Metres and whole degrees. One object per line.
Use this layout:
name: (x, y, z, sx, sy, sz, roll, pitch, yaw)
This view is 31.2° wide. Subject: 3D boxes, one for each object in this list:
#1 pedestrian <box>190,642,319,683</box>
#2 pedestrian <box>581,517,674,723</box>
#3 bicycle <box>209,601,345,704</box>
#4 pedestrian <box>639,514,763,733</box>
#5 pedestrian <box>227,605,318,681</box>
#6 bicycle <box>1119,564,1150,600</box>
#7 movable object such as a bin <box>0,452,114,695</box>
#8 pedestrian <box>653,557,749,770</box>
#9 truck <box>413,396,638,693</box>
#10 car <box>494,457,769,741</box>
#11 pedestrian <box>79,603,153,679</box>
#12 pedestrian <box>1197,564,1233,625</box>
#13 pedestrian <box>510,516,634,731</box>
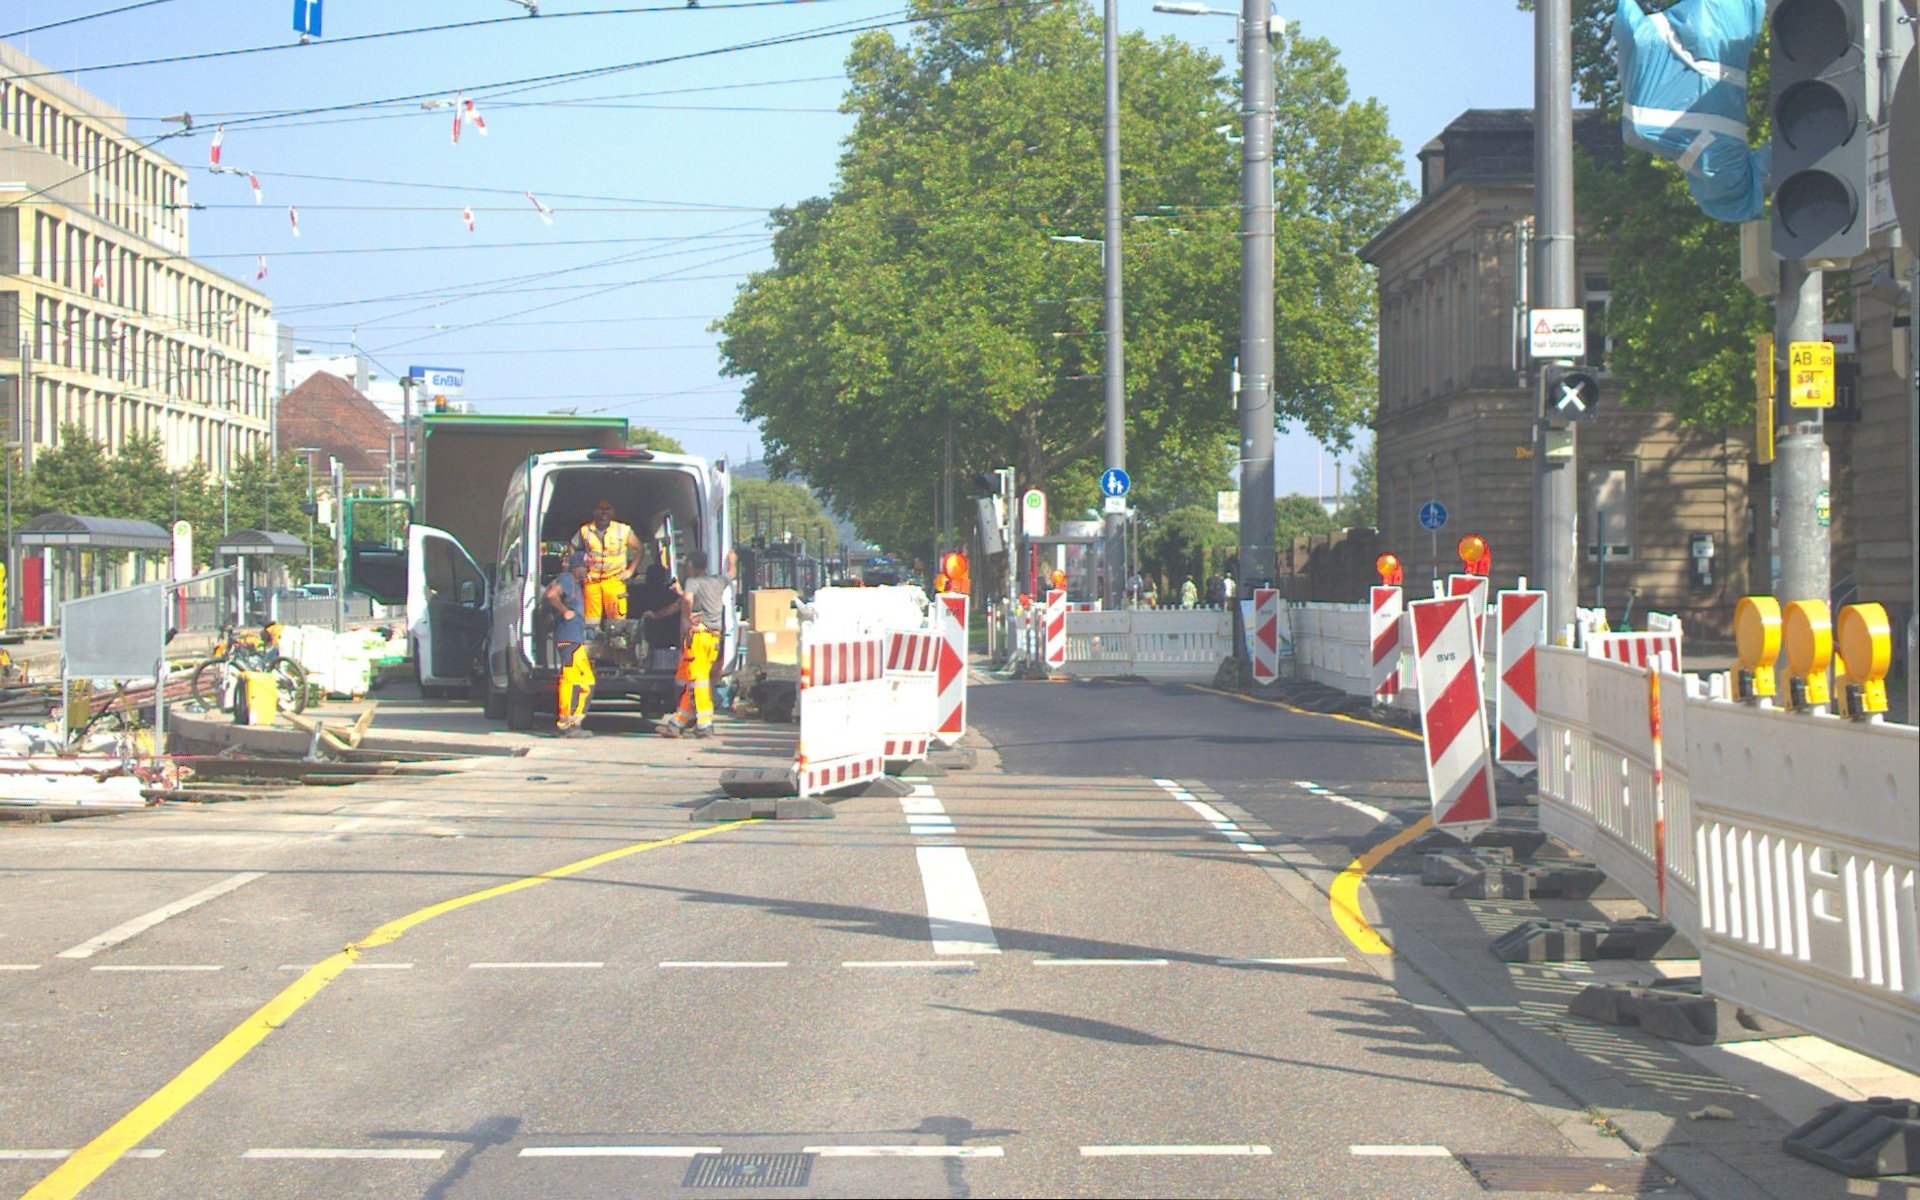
pedestrian: (-11.605, 1.029, 56.574, 1.902, 0.634, 0.912, 0, 0, 3)
pedestrian: (-3.295, 0.195, 34.121, 0.734, 2.007, 0.907, -1, 0, 5)
bicycle: (-7.668, 0.583, 38.574, 1.660, 1.133, 0.616, -1, 0, 42)
pedestrian: (-2.413, 0.214, 32.072, 0.735, 2.007, 0.905, -1, 0, 33)
pedestrian: (-11.975, 0.745, 59.870, 1.313, 1.302, 0.797, 0, 0, 24)
bicycle: (5.147, -0.535, 101.677, 0.717, 1.038, 1.903, -1, 0, -3)
movable object such as a bin: (-18.017, -0.409, 55.906, 3.508, 3.999, 9.030, -1, 0, 23)
pedestrian: (-2.481, 0.604, 33.029, 0.734, 2.007, 0.907, -1, 0, 6)
truck: (-6.035, -0.720, 46.747, 2.673, 3.666, 8.216, -1, 0, -10)
car: (-3.491, -0.012, 35.579, 2.224, 2.720, 5.172, 0, 0, -12)
pedestrian: (-14.875, 0.719, 60.608, 1.015, 1.302, 0.982, -1, 0, 3)
pedestrian: (7.365, -0.154, 99.418, 0.819, 1.680, 1.012, -5, 0, 0)
pedestrian: (-3.673, 0.221, 32.584, 0.735, 2.007, 0.905, -1, 0, 31)
